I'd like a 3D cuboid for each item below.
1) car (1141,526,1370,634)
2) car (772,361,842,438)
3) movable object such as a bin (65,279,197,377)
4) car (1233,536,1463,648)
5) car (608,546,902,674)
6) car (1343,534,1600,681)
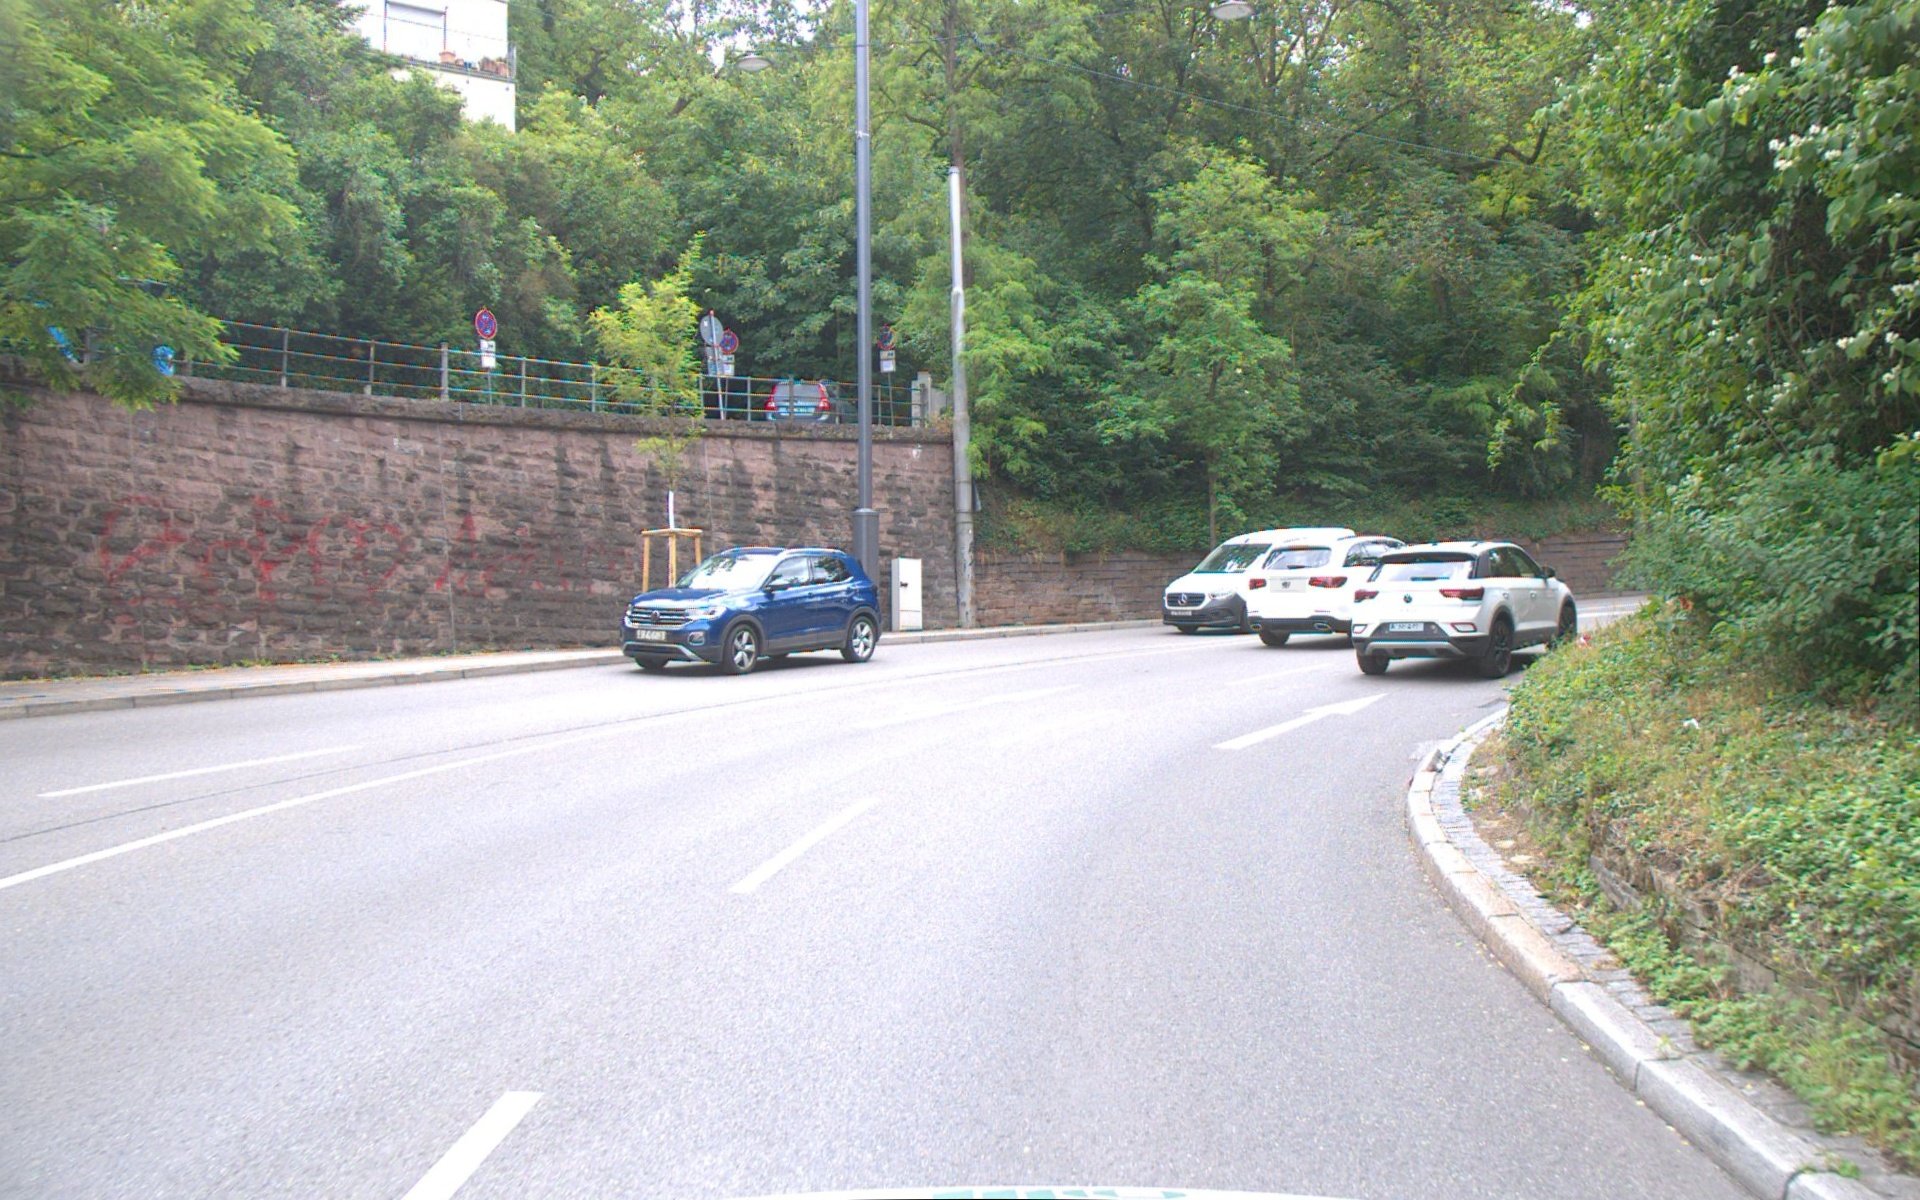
[{"bbox_3d":[5.559,-0.440,30.775,4.632,1.794,1.799,-3,4,-42],"label":"car"},{"bbox_3d":[-3.798,-4.982,41.505,1.644,1.404,3.732,0,-1,-4],"label":"car"},{"bbox_3d":[-14.363,-4.685,28.677,1.226,1.379,1.600,-2,1,33],"label":"movable object such as a bin"},{"bbox_3d":[6.280,-0.189,26.385,1.829,1.633,4.651,0,2,38],"label":"car"},{"bbox_3d":[-2.652,0.068,22.327,1.695,1.554,4.191,1,2,32],"label":"car"},{"bbox_3d":[6.544,0.012,20.864,1.726,1.579,4.320,0,3,37],"label":"car"}]
